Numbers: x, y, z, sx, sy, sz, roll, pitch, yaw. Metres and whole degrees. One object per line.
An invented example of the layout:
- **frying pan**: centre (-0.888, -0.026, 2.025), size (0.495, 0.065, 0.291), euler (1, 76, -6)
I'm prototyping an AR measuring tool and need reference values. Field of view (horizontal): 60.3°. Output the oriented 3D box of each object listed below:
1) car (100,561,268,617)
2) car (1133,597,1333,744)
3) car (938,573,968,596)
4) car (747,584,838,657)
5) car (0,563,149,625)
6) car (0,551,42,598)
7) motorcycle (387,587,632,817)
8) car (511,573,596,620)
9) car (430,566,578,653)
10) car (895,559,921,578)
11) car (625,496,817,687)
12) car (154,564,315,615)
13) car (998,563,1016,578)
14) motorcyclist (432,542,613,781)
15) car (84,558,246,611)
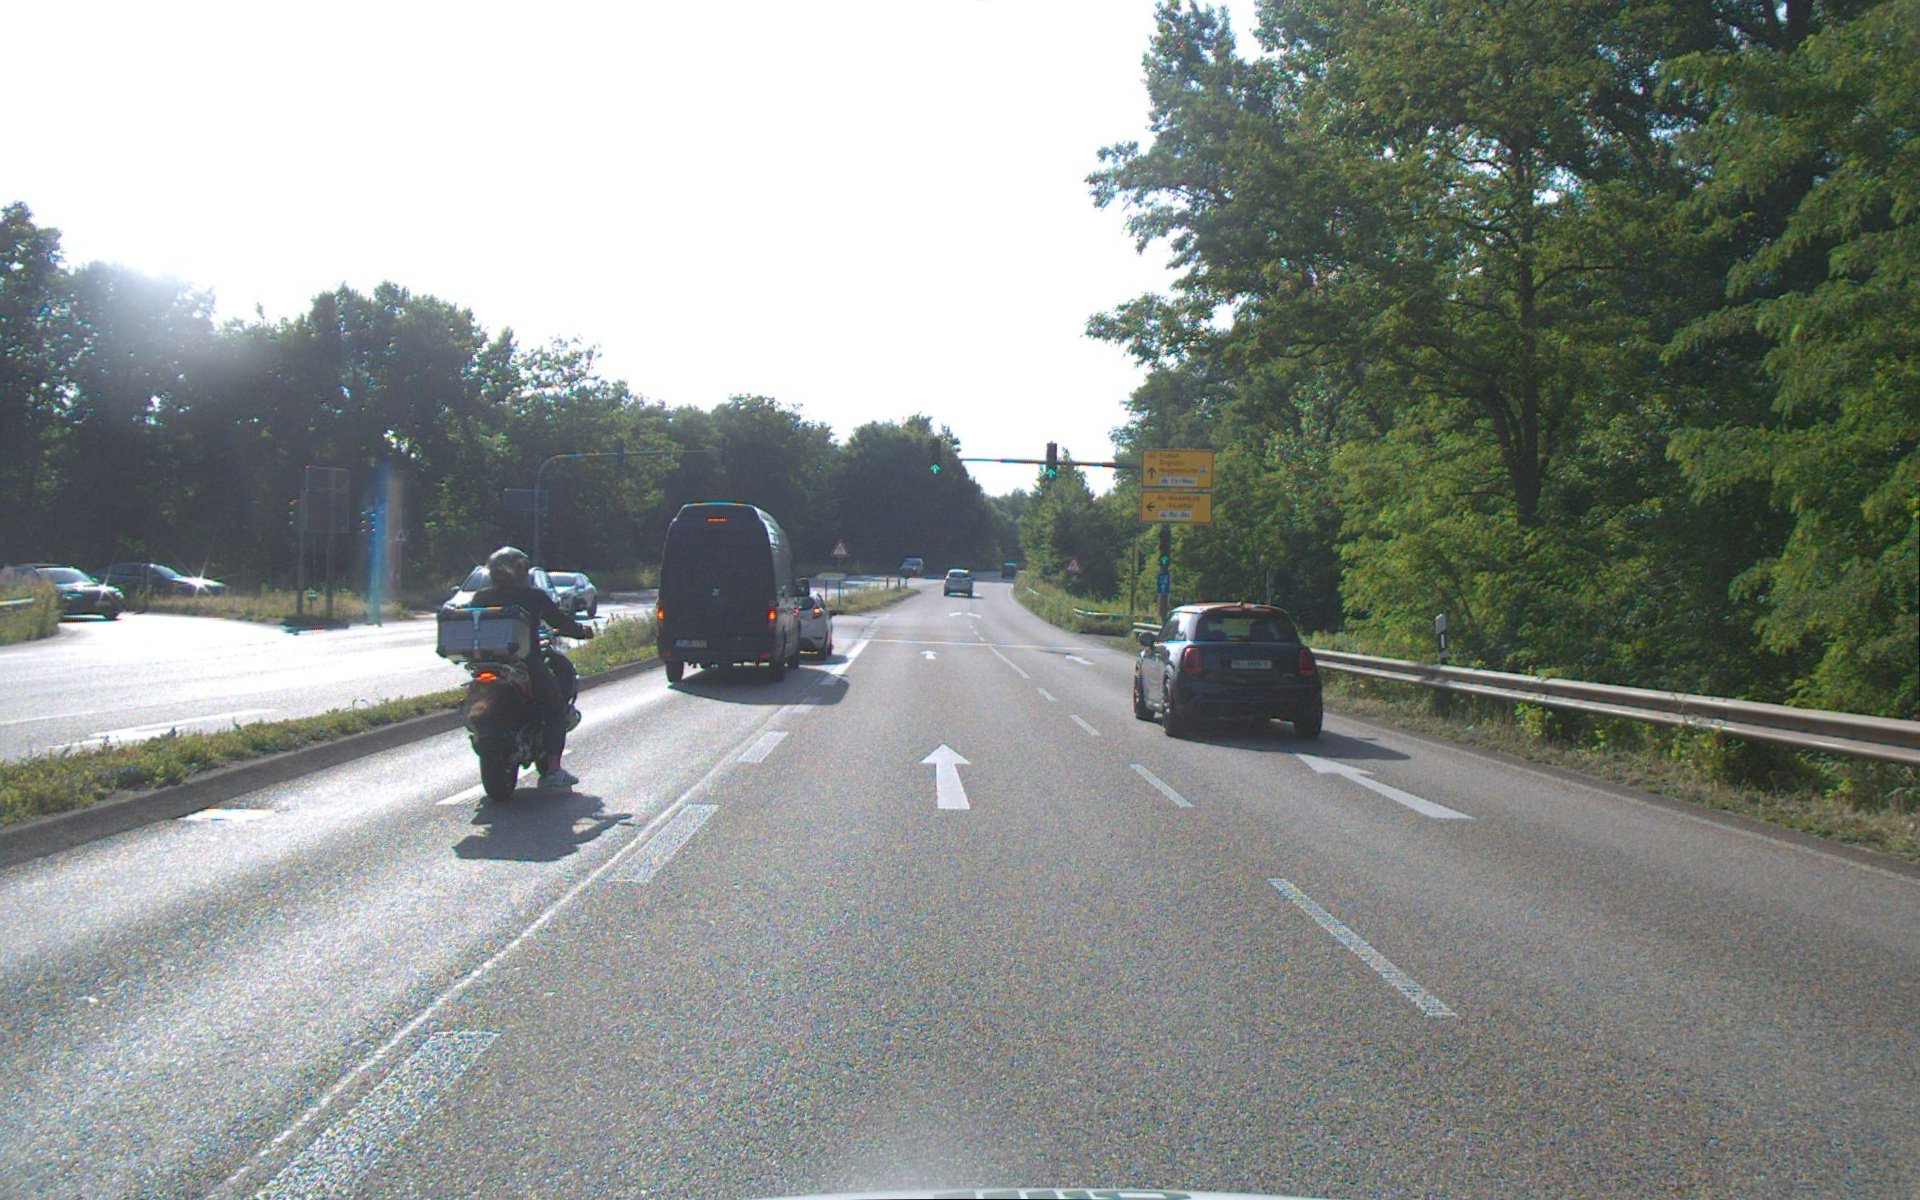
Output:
- **car**: centre (-24.229, -0.340, 51.739), size (4.314, 1.516, 2.002), euler (3, 0, 8)
- **car**: centre (3.097, 0.743, 19.458), size (1.782, 1.493, 3.874), euler (1, 0, 1)
- **car**: centre (-0.420, -1.038, 108.151), size (1.725, 1.404, 3.973), euler (3, 1, 3)
- **car**: centre (-3.643, 0.403, 36.555), size (1.612, 1.515, 4.103), euler (0, 1, 0)
- **car**: centre (-25.499, -0.180, 47.267), size (4.464, 1.516, 1.996), euler (3, 1, 30)
- **car**: centre (-33.891, -0.961, 55.624), size (4.867, 1.516, 2.210), euler (3, 0, 7)
- **motorcycle**: centre (-3.248, 0.665, 12.280), size (0.889, 1.479, 2.690), euler (-2, 1, 4)
- **car**: centre (-13.893, -0.129, 56.723), size (1.845, 1.529, 4.265), euler (0, 1, 0)
- **car**: centre (-9.972, 0.176, 36.582), size (2.034, 1.794, 4.756), euler (0, 1, -1)
- **car**: centre (-5.396, -3.325, 173.663), size (1.811, 1.817, 4.674), euler (3, 1, 9)
- **car**: centre (-3.993, -0.167, 29.082), size (2.164, 2.939, 7.013), euler (0, 1, 2)
- **car**: centre (-25.266, -0.364, 57.723), size (4.615, 1.516, 2.167), euler (3, 0, -3)
- **car**: centre (5.233, -3.333, 185.560), size (1.710, 1.564, 3.924), euler (3, 1, -2)
- **motorcyclist**: centre (-3.226, 0.425, 12.313), size (0.865, 1.644, 1.291), euler (3, 0, 4)
- **car**: centre (-26.301, -0.526, 54.805), size (4.319, 1.516, 1.999), euler (3, 0, -3)
